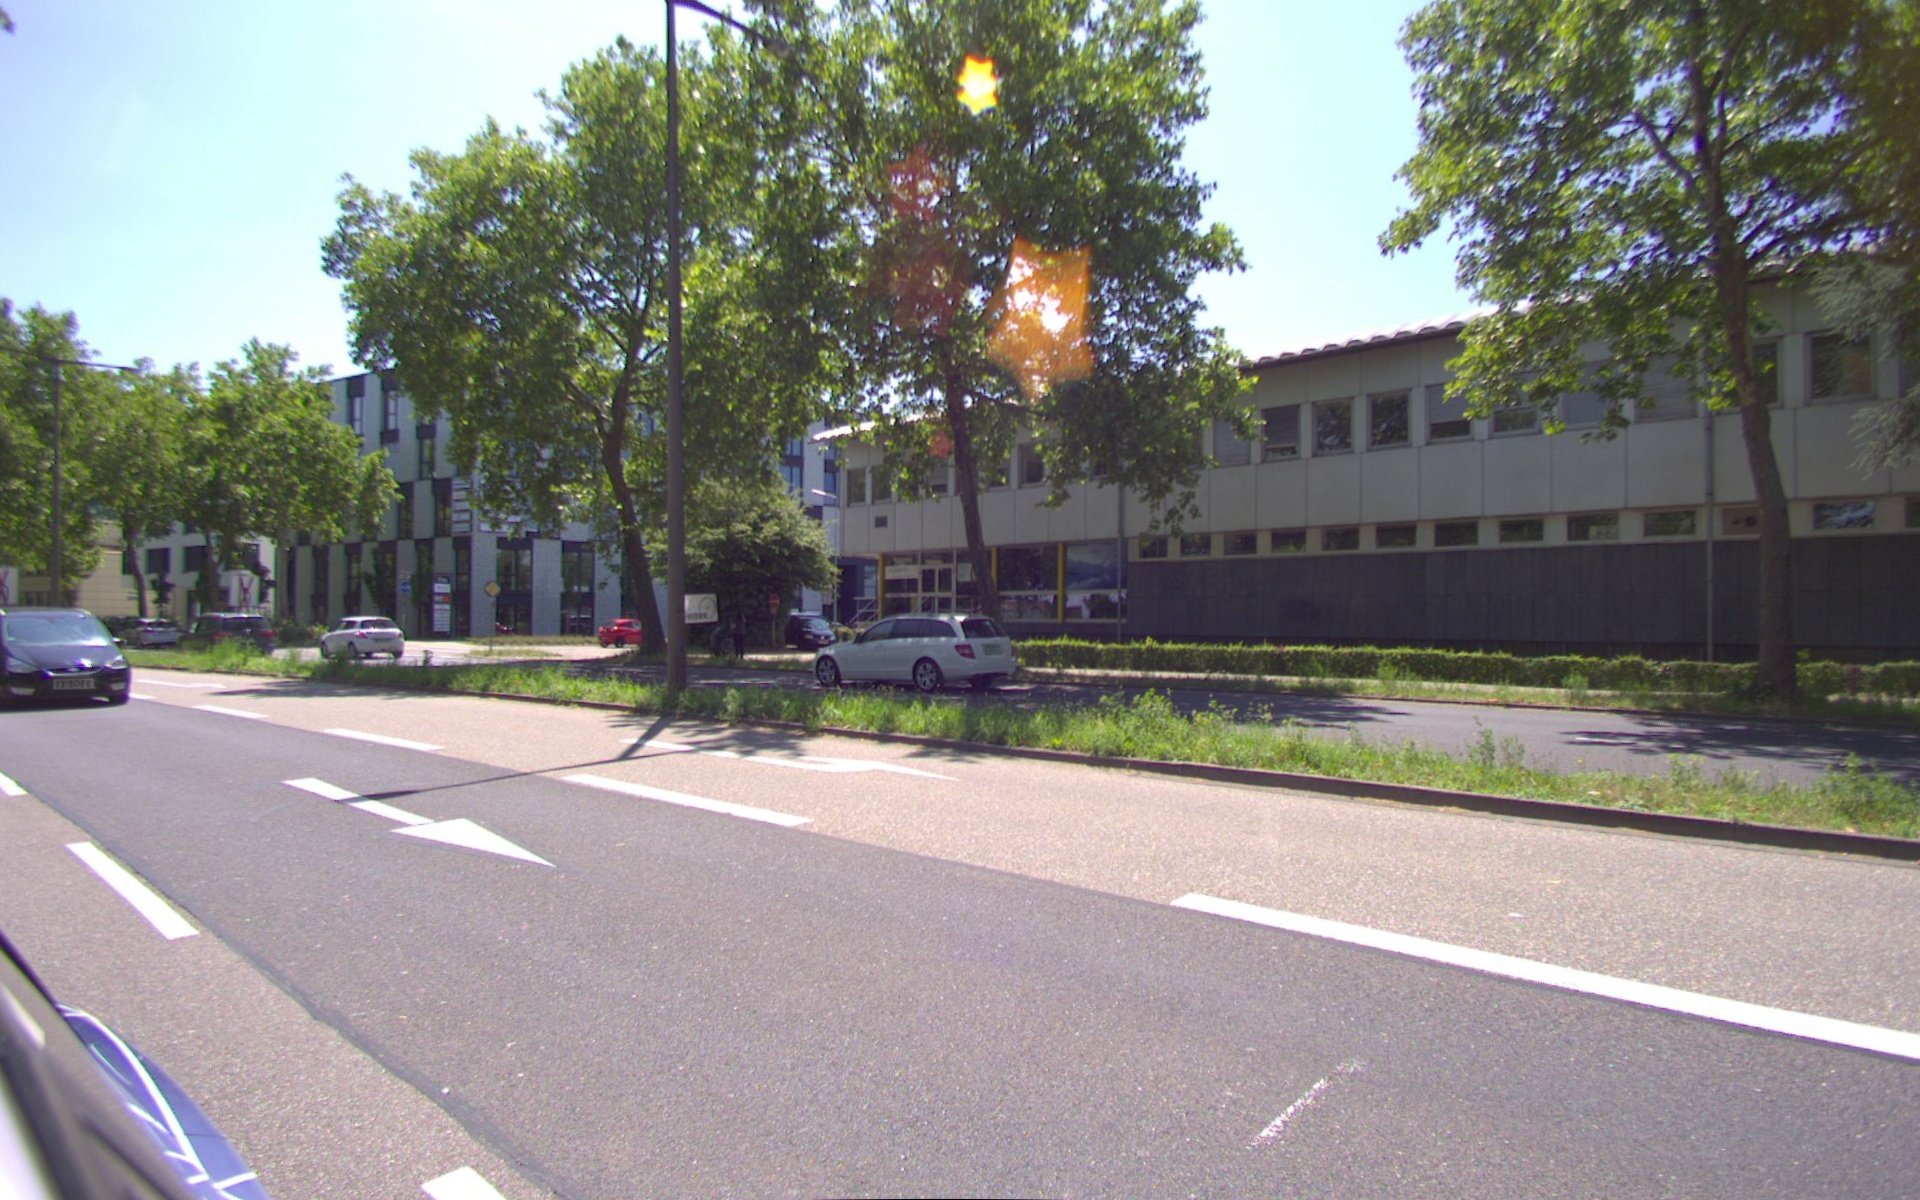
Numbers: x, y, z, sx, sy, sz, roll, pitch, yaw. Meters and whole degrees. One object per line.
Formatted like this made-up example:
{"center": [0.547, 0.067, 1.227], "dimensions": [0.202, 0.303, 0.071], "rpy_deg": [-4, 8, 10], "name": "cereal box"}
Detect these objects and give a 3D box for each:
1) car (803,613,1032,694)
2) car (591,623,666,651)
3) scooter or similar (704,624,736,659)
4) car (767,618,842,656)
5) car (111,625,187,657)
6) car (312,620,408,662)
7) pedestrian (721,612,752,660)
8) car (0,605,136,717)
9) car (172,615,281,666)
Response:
{"center": [-0.941, 1.003, 20.091], "dimensions": [4.545, 1.429, 1.834], "rpy_deg": [-1, -2, 41], "name": "car"}
{"center": [-17.819, 1.971, 54.418], "dimensions": [1.676, 1.472, 3.482], "rpy_deg": [-1, -2, 41], "name": "car"}
{"center": [-8.201, 1.405, 34.544], "dimensions": [0.857, 1.172, 0.672], "rpy_deg": [-1, -2, 35], "name": "scooter or similar"}
{"center": [-7.444, 1.738, 48.341], "dimensions": [3.528, 1.660, 1.795], "rpy_deg": [-1, 0, 44], "name": "car"}
{"center": [-38.962, 1.943, 48.625], "dimensions": [3.660, 1.454, 1.738], "rpy_deg": [-1, -2, 32], "name": "car"}
{"center": [-21.908, 1.472, 36.924], "dimensions": [3.666, 1.470, 1.716], "rpy_deg": [-1, -2, 36], "name": "car"}
{"center": [-7.518, 1.202, 34.068], "dimensions": [0.789, 1.572, 0.636], "rpy_deg": [-1, -2, 35], "name": "pedestrian"}
{"center": [-16.541, 1.011, 18.096], "dimensions": [4.642, 1.769, 1.836], "rpy_deg": [-1, -1, 38], "name": "car"}
{"center": [-25.727, 1.384, 35.427], "dimensions": [4.615, 1.668, 1.930], "rpy_deg": [-1, -2, 39], "name": "car"}
